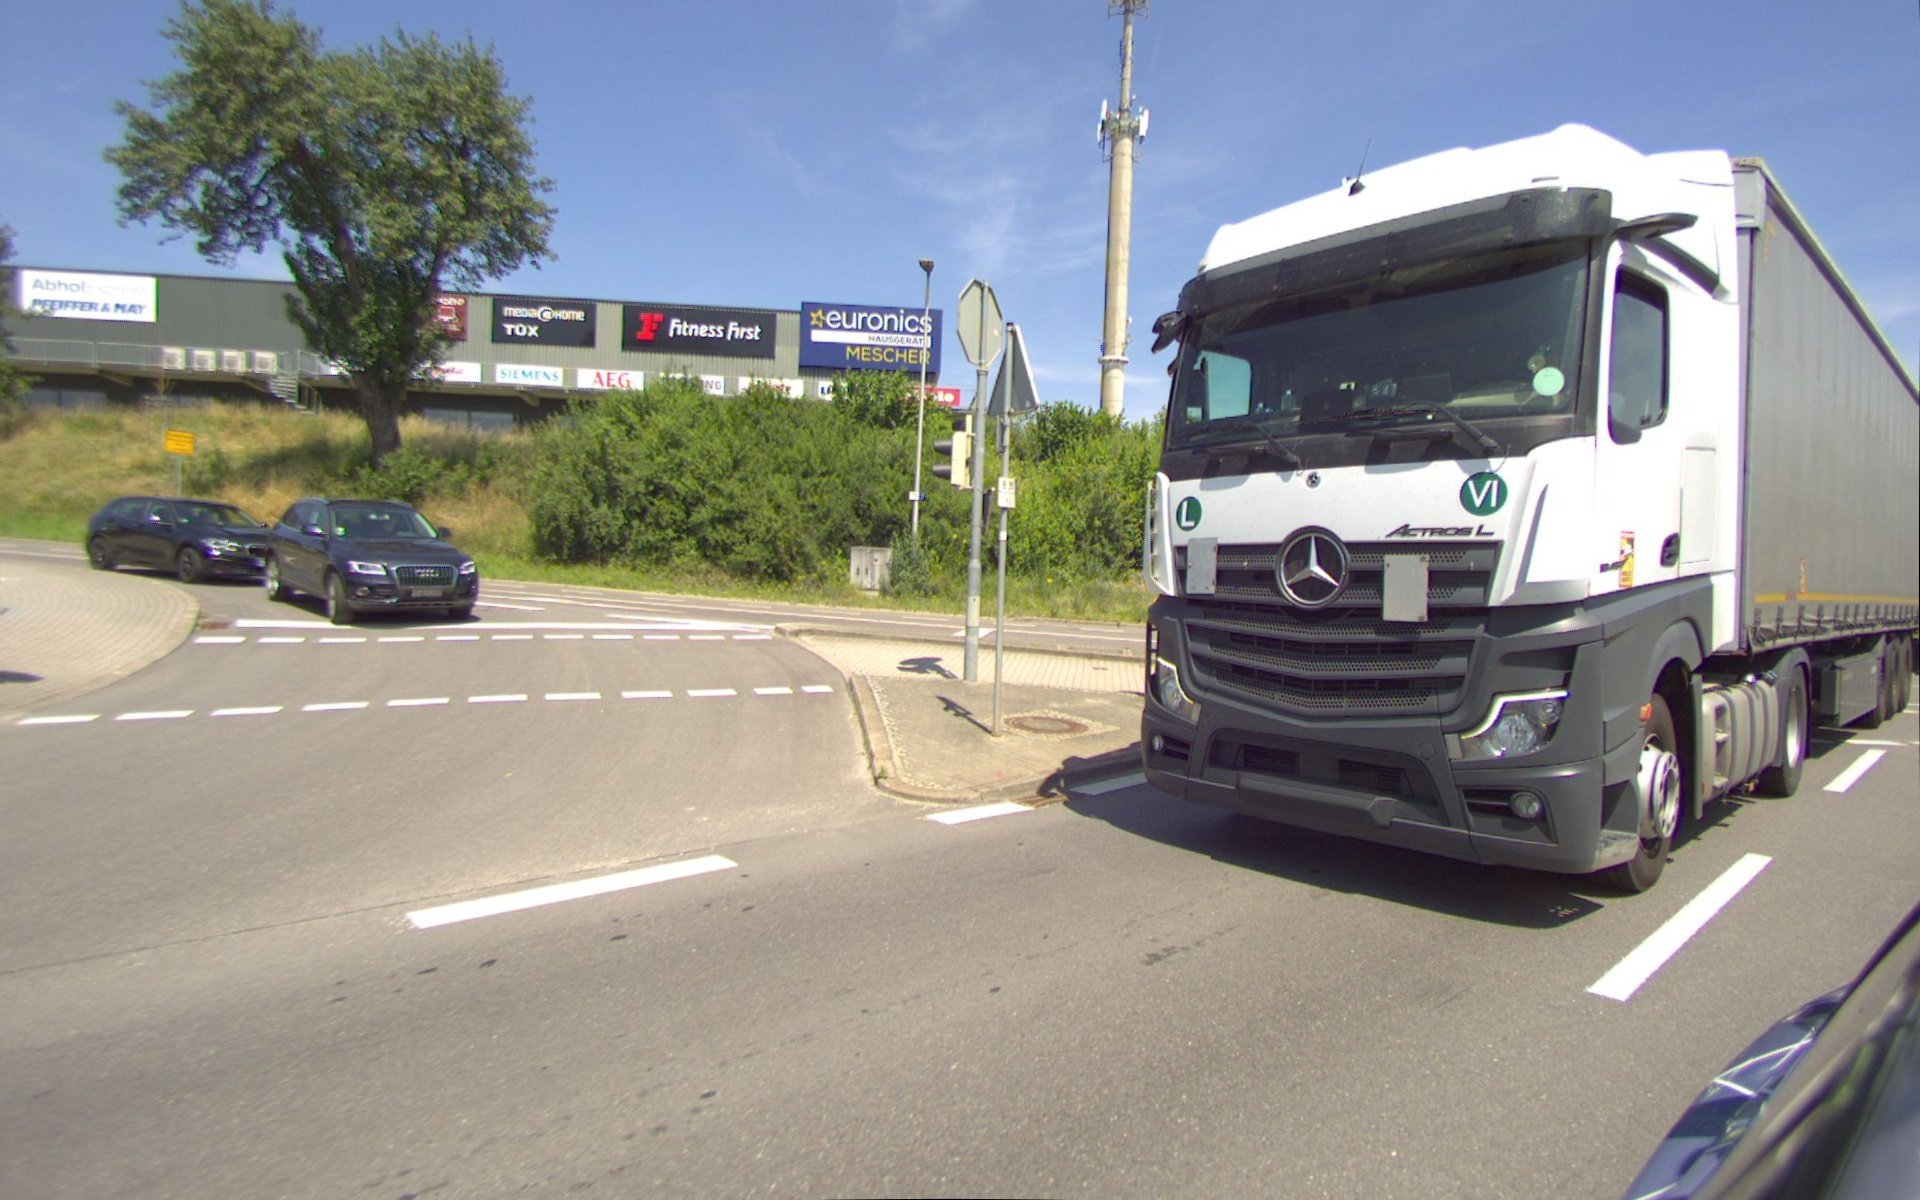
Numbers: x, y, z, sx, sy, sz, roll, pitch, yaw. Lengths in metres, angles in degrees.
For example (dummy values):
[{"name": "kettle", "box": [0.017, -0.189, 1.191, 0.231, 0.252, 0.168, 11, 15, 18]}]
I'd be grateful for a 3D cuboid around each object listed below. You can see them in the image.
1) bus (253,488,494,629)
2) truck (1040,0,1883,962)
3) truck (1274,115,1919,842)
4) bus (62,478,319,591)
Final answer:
[{"name": "bus", "box": [-8.928, -0.734, 15.237, 4.492, 1.669, 1.914, 8, 8, 42]}, {"name": "truck", "box": [3.879, -0.693, 7.113, 6.217, 4.058, 2.980, 0, 3, -41]}, {"name": "truck", "box": [8.686, -0.751, 11.441, 13.880, 4.058, 2.979, 0, 4, -42]}, {"name": "bus", "box": [-14.132, -1.260, 18.583, 4.459, 1.669, 1.928, 6, 6, 25]}]
